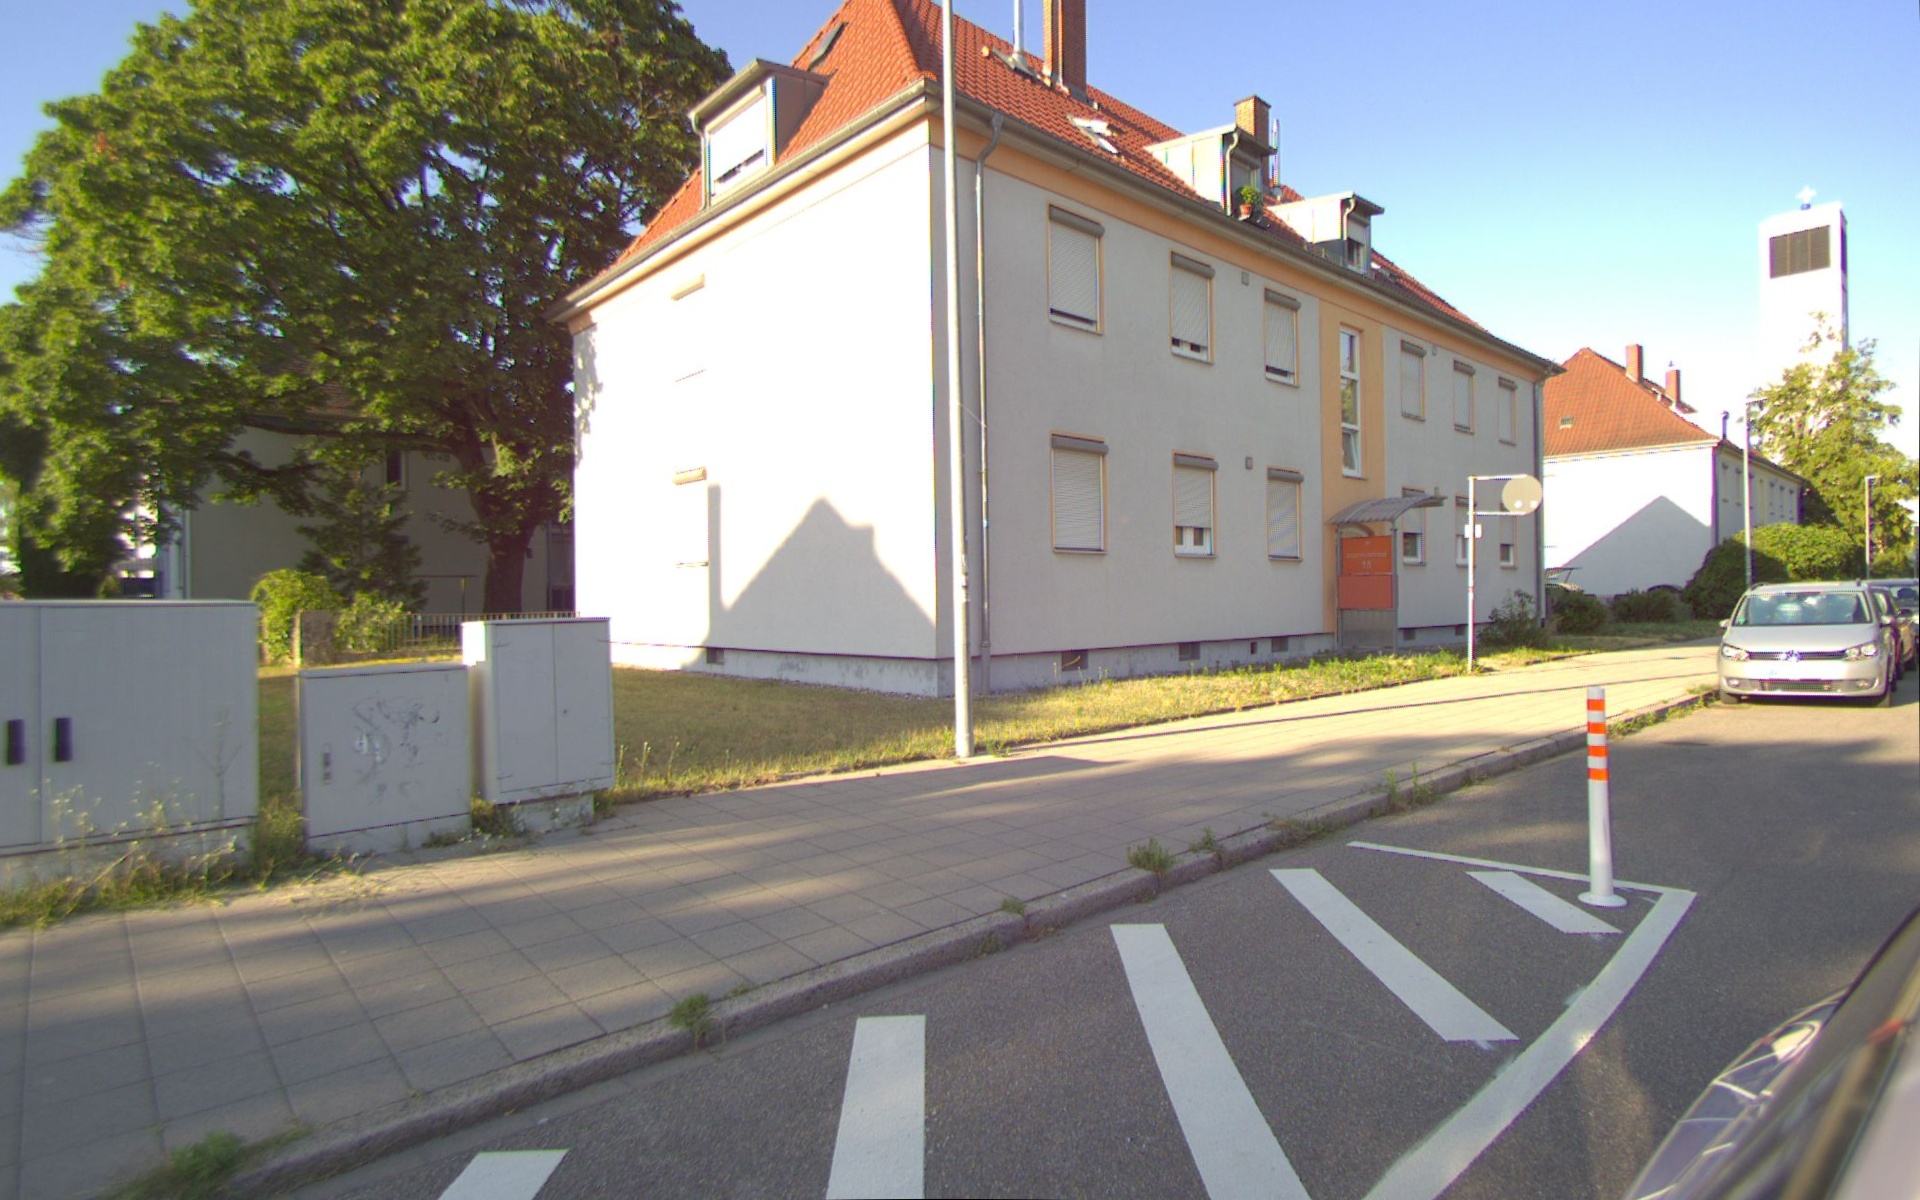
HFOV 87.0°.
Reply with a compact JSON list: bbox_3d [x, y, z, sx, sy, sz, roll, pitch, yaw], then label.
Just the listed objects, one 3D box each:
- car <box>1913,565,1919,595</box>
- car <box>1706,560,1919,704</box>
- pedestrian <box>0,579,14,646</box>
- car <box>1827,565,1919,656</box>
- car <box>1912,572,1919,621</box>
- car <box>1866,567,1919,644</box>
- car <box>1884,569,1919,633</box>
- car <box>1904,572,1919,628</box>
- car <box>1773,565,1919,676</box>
[{"bbox_3d":[55.941,-1.196,57.898,3.935,1.717,1.845,-1,-1,-44],"label":"car"},{"bbox_3d":[11.935,0.376,14.086,3.935,1.717,1.845,-1,-1,-44],"label":"car"},{"bbox_3d":[-29.928,0.392,31.338,0.883,2.039,0.691,-1,0,-42],"label":"pedestrian"},{"bbox_3d":[19.354,0.174,20.865,3.935,1.717,1.845,-1,-1,-44],"label":"car"},{"bbox_3d":[35.156,-0.188,35.857,3.935,1.717,1.845,-1,-1,-44],"label":"car"},{"bbox_3d":[23.064,0.082,24.158,3.935,1.717,1.845,-1,-1,-44],"label":"car"},{"bbox_3d":[27.593,-0.027,28.644,3.935,1.717,1.845,-1,-1,-44],"label":"car"},{"bbox_3d":[31.415,-0.056,32.165,3.935,1.717,1.845,-1,-1,-44],"label":"car"},{"bbox_3d":[15.647,0.303,17.595,3.935,1.717,1.845,-1,-1,-44],"label":"car"}]
